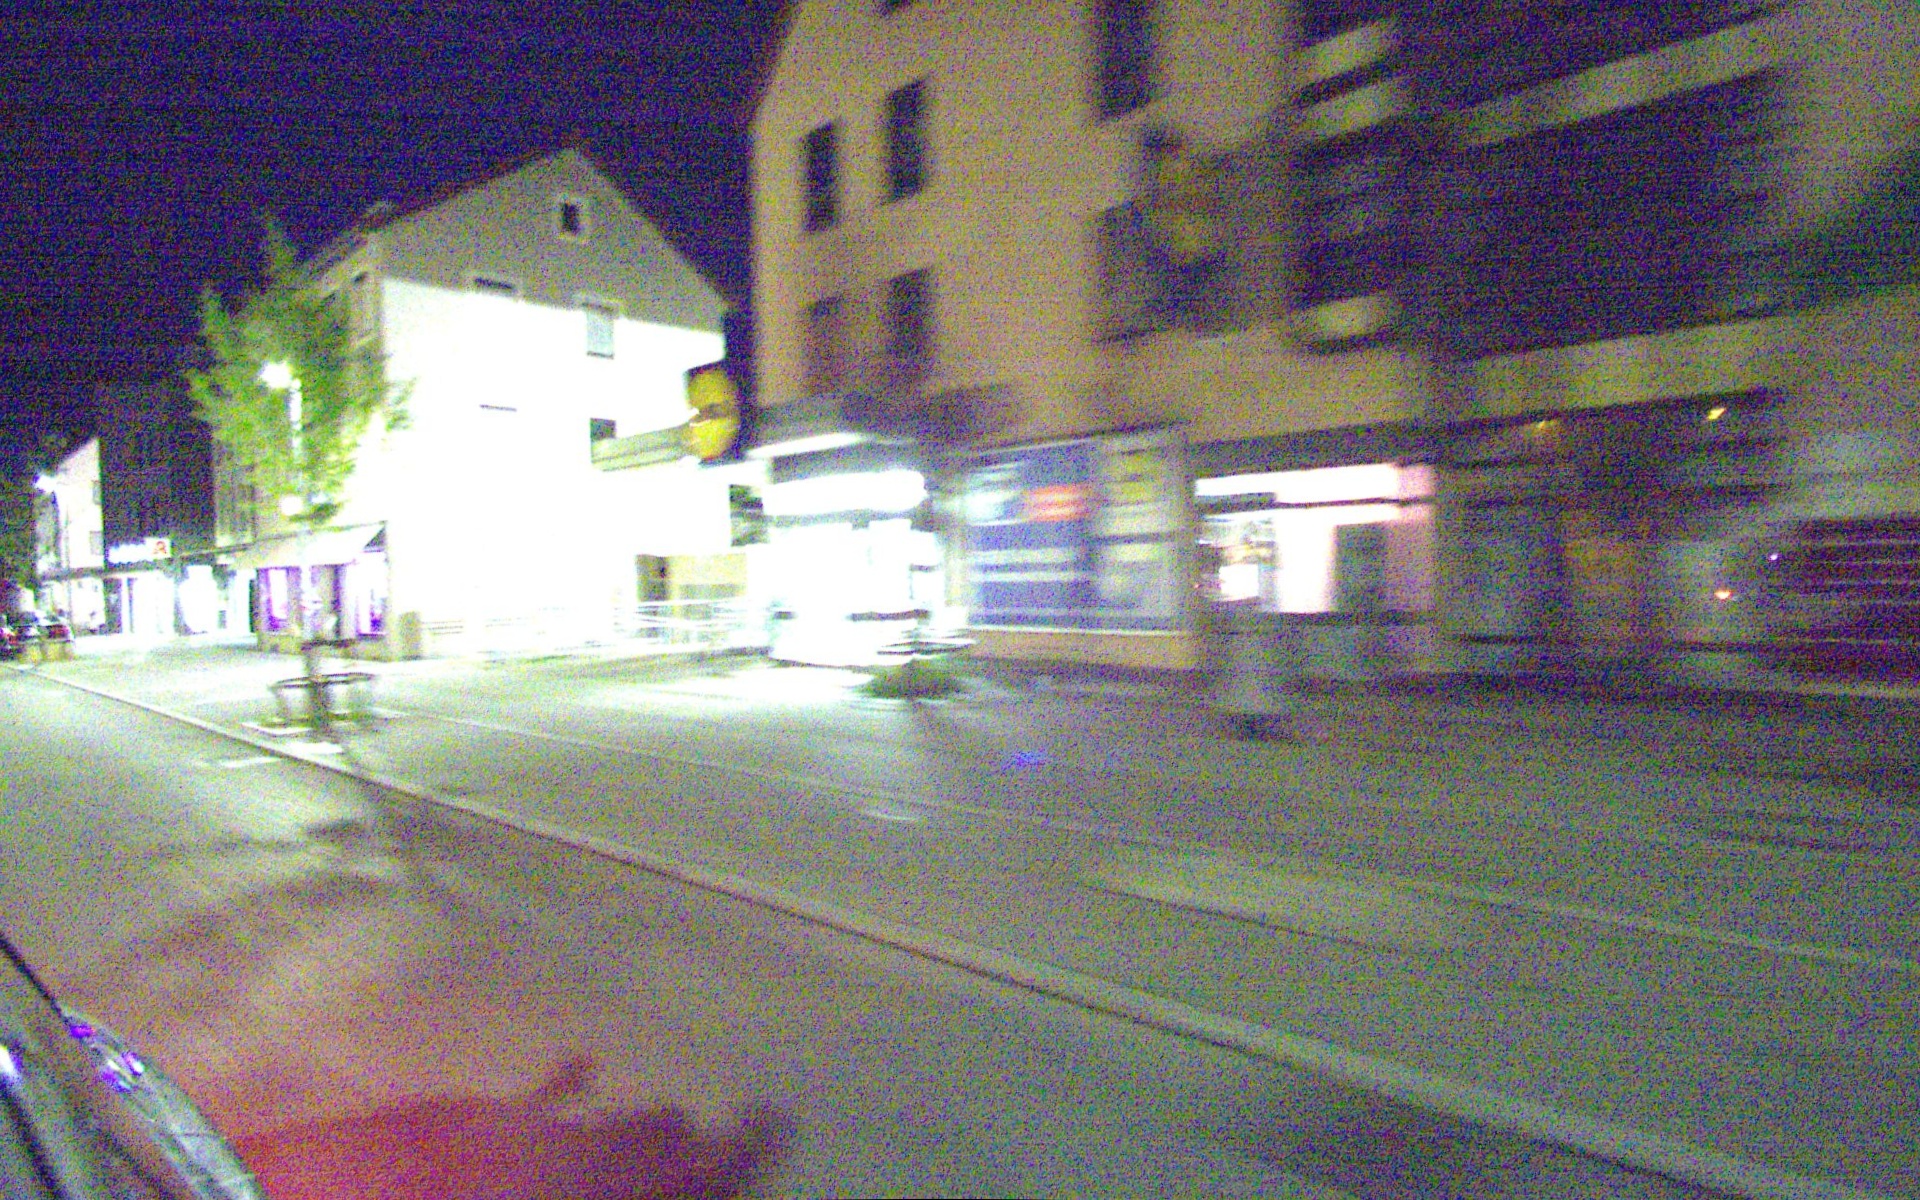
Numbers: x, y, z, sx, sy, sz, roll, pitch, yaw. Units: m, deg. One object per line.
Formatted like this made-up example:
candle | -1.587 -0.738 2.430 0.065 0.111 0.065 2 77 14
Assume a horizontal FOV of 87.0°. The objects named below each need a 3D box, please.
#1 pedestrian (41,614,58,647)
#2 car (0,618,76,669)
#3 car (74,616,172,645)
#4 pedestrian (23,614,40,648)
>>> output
pedestrian | -44.634 1.479 49.610 0.665 1.600 0.522 -1 0 39
car | -29.930 1.343 32.225 4.926 1.430 1.878 -1 1 40
car | -44.236 1.593 53.564 1.651 1.427 3.784 -1 -1 40
pedestrian | -45.213 1.496 49.264 0.665 1.600 0.522 -1 0 41
